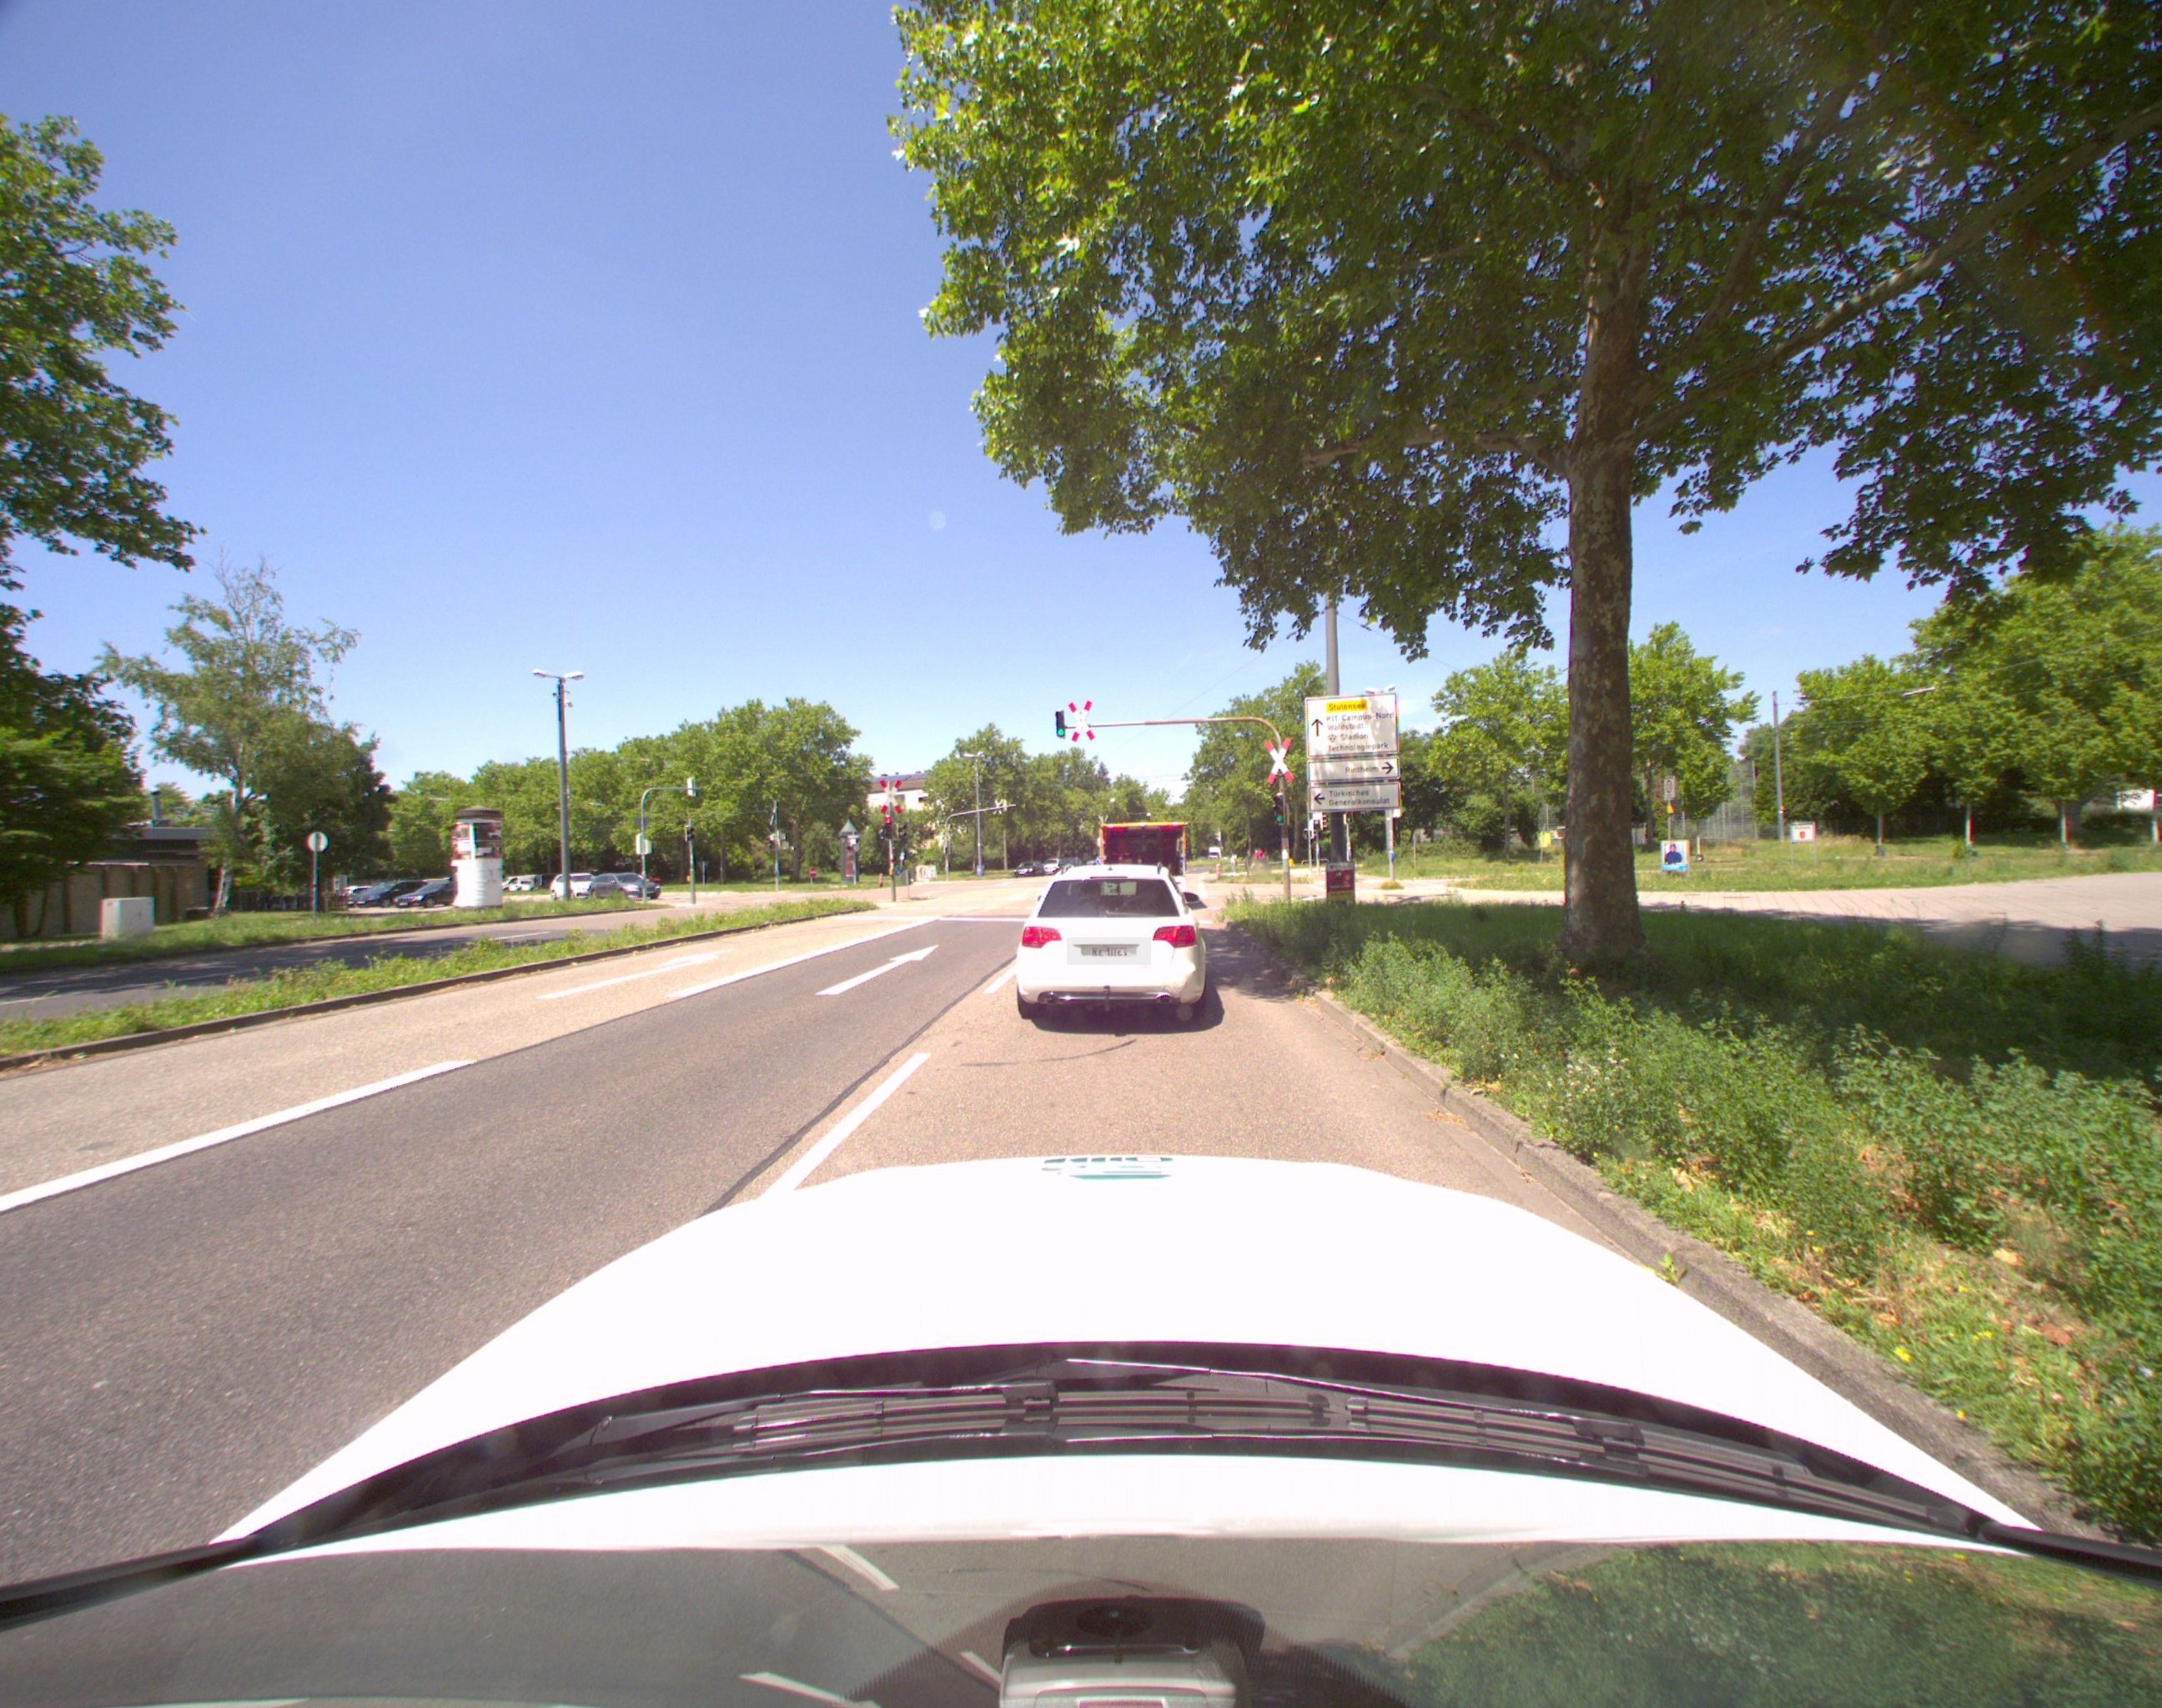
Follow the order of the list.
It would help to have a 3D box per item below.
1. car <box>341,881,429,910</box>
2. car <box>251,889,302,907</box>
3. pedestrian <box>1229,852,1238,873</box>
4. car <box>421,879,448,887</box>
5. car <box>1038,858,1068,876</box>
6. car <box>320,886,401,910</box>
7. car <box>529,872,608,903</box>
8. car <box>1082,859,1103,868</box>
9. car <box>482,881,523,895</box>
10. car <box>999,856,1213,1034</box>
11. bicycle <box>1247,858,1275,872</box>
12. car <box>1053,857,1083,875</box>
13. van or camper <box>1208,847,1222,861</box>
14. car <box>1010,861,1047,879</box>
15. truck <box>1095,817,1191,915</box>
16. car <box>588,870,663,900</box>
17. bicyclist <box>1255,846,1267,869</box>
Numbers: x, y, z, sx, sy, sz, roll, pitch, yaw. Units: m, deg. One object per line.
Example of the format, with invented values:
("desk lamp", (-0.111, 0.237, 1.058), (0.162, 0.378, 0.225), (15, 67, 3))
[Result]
("car", (-44.809, 2.653, 52.586), (1.769, 1.651, 4.201), (-2, 0, 6))
("car", (-63.653, 3.429, 64.474), (1.181, 1.205, 2.874), (-2, 0, -3))
("pedestrian", (10.887, 0.592, 58.100), (0.548, 1.484, 0.632), (-2, 0, 18))
("car", (-88.164, 3.982, 111.102), (0.996, 0.994, 2.738), (-2, 0, 31))
("car", (-2.747, 1.274, 80.970), (1.774, 1.615, 4.421), (-2, 0, 14))
("car", (-51.840, 3.133, 58.716), (1.930, 1.423, 4.070), (-2, 0, 8))
("car", (-29.418, 1.907, 46.725), (4.403, 1.604, 2.231), (-2, 0, 34))
("car", (1.998, 1.652, 139.250), (1.864, 1.393, 4.025), (-2, 0, 28))
("car", (-66.241, 3.918, 93.280), (1.481, 1.397, 3.572), (-2, 0, 29))
("car", (0.390, 0.763, 8.540), (1.754, 1.445, 3.622), (-1, 0, 6))
("bicycle", (12.307, 0.739, 55.710), (1.799, 0.895, 0.589), (-2, -1, 0))
("car", (-1.138, 1.090, 74.196), (1.897, 1.539, 4.311), (-2, 0, 11))
("van or camper", (32.711, -0.056, 198.863), (2.640, 3.331, 5.524), (-2, 0, 16))
("car", (-4.731, 1.390, 73.724), (1.935, 1.440, 4.764), (-2, 0, 13))
("truck", (1.964, 0.338, 25.187), (2.499, 2.559, 7.613), (0, -1, 5))
("car", (-23.776, 1.625, 42.480), (3.941, 1.457, 1.776), (-2, 0, 34))
("bicyclist", (12.327, 0.220, 55.718), (0.669, 1.556, 0.580), (-2, 0, 2))
